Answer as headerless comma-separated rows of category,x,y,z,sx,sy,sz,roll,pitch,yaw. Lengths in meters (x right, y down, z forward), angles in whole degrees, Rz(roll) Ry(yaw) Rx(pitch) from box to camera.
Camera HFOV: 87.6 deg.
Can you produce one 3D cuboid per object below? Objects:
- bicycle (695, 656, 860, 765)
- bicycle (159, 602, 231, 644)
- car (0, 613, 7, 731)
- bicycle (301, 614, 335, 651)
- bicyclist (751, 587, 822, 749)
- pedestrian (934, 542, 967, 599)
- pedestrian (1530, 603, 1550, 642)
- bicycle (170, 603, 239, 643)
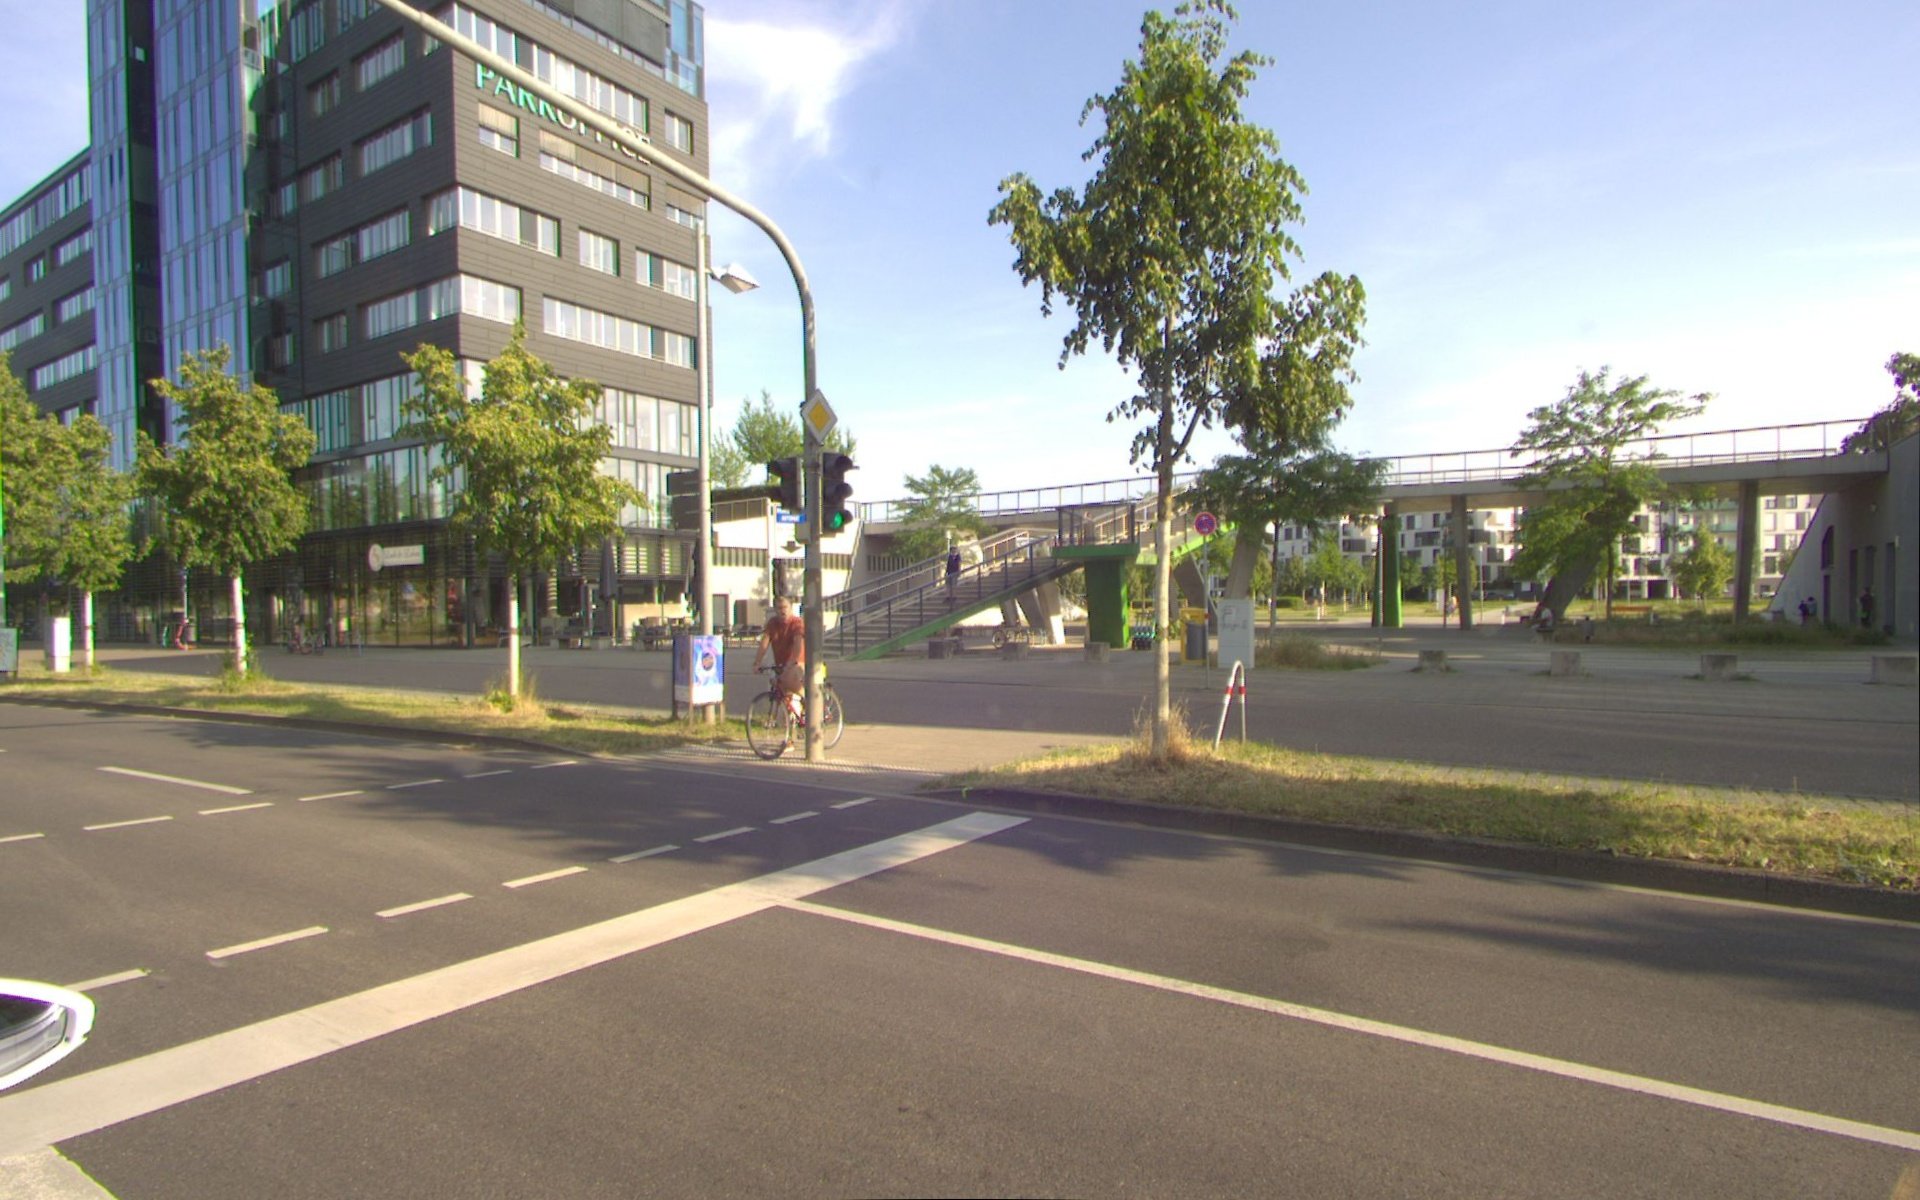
bicycle,-1.942,1.158,11.017,0.563,1.025,2.132,-1,-2,29
bicycle,-35.084,1.054,45.953,0.563,1.881,2.551,-1,-2,42
car,-13.774,0.873,12.192,3.971,1.442,1.696,-1,-2,23
bicycle,-24.159,1.231,37.653,1.868,1.363,0.372,-1,-2,34
bicyclist,-1.913,0.737,11.060,0.533,1.728,0.574,-1,-1,30
pedestrian,-0.303,-0.909,31.255,0.689,1.713,0.779,1,-2,-44
pedestrian,19.999,0.775,34.523,0.573,1.310,0.595,-1,-1,33
bicycle,-34.226,1.053,45.374,0.548,1.768,2.422,-1,-2,42
